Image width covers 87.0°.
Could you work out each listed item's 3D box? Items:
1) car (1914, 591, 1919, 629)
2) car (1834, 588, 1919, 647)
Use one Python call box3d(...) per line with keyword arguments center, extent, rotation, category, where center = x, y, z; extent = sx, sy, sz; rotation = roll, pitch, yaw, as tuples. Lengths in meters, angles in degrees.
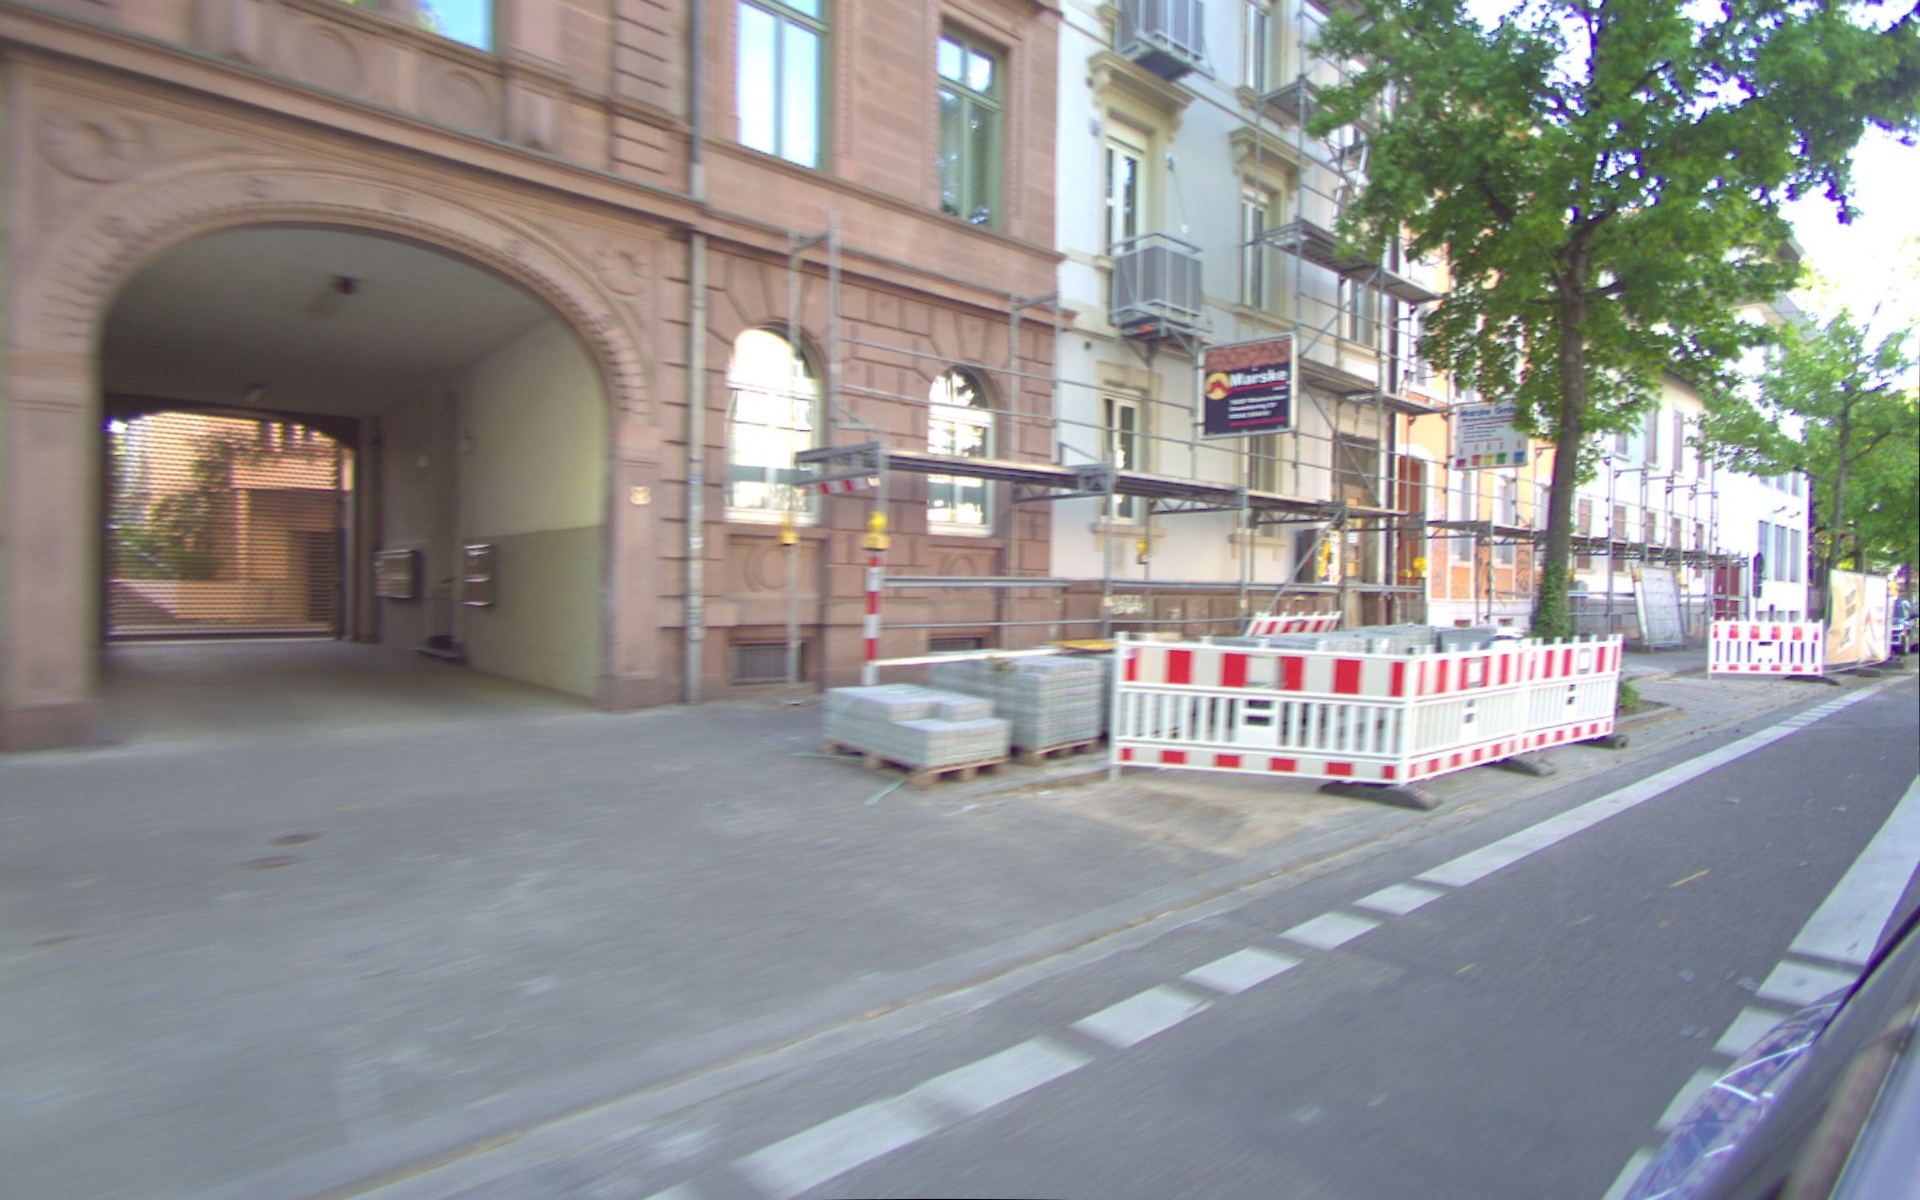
box3d(center=(38.822, 0.400, 39.758), extent=(3.736, 1.465, 1.654), rotation=(-1, 2, -43), category="car")
box3d(center=(26.194, 0.429, 28.448), extent=(4.035, 1.502, 1.768), rotation=(0, 2, -39), category="car")
